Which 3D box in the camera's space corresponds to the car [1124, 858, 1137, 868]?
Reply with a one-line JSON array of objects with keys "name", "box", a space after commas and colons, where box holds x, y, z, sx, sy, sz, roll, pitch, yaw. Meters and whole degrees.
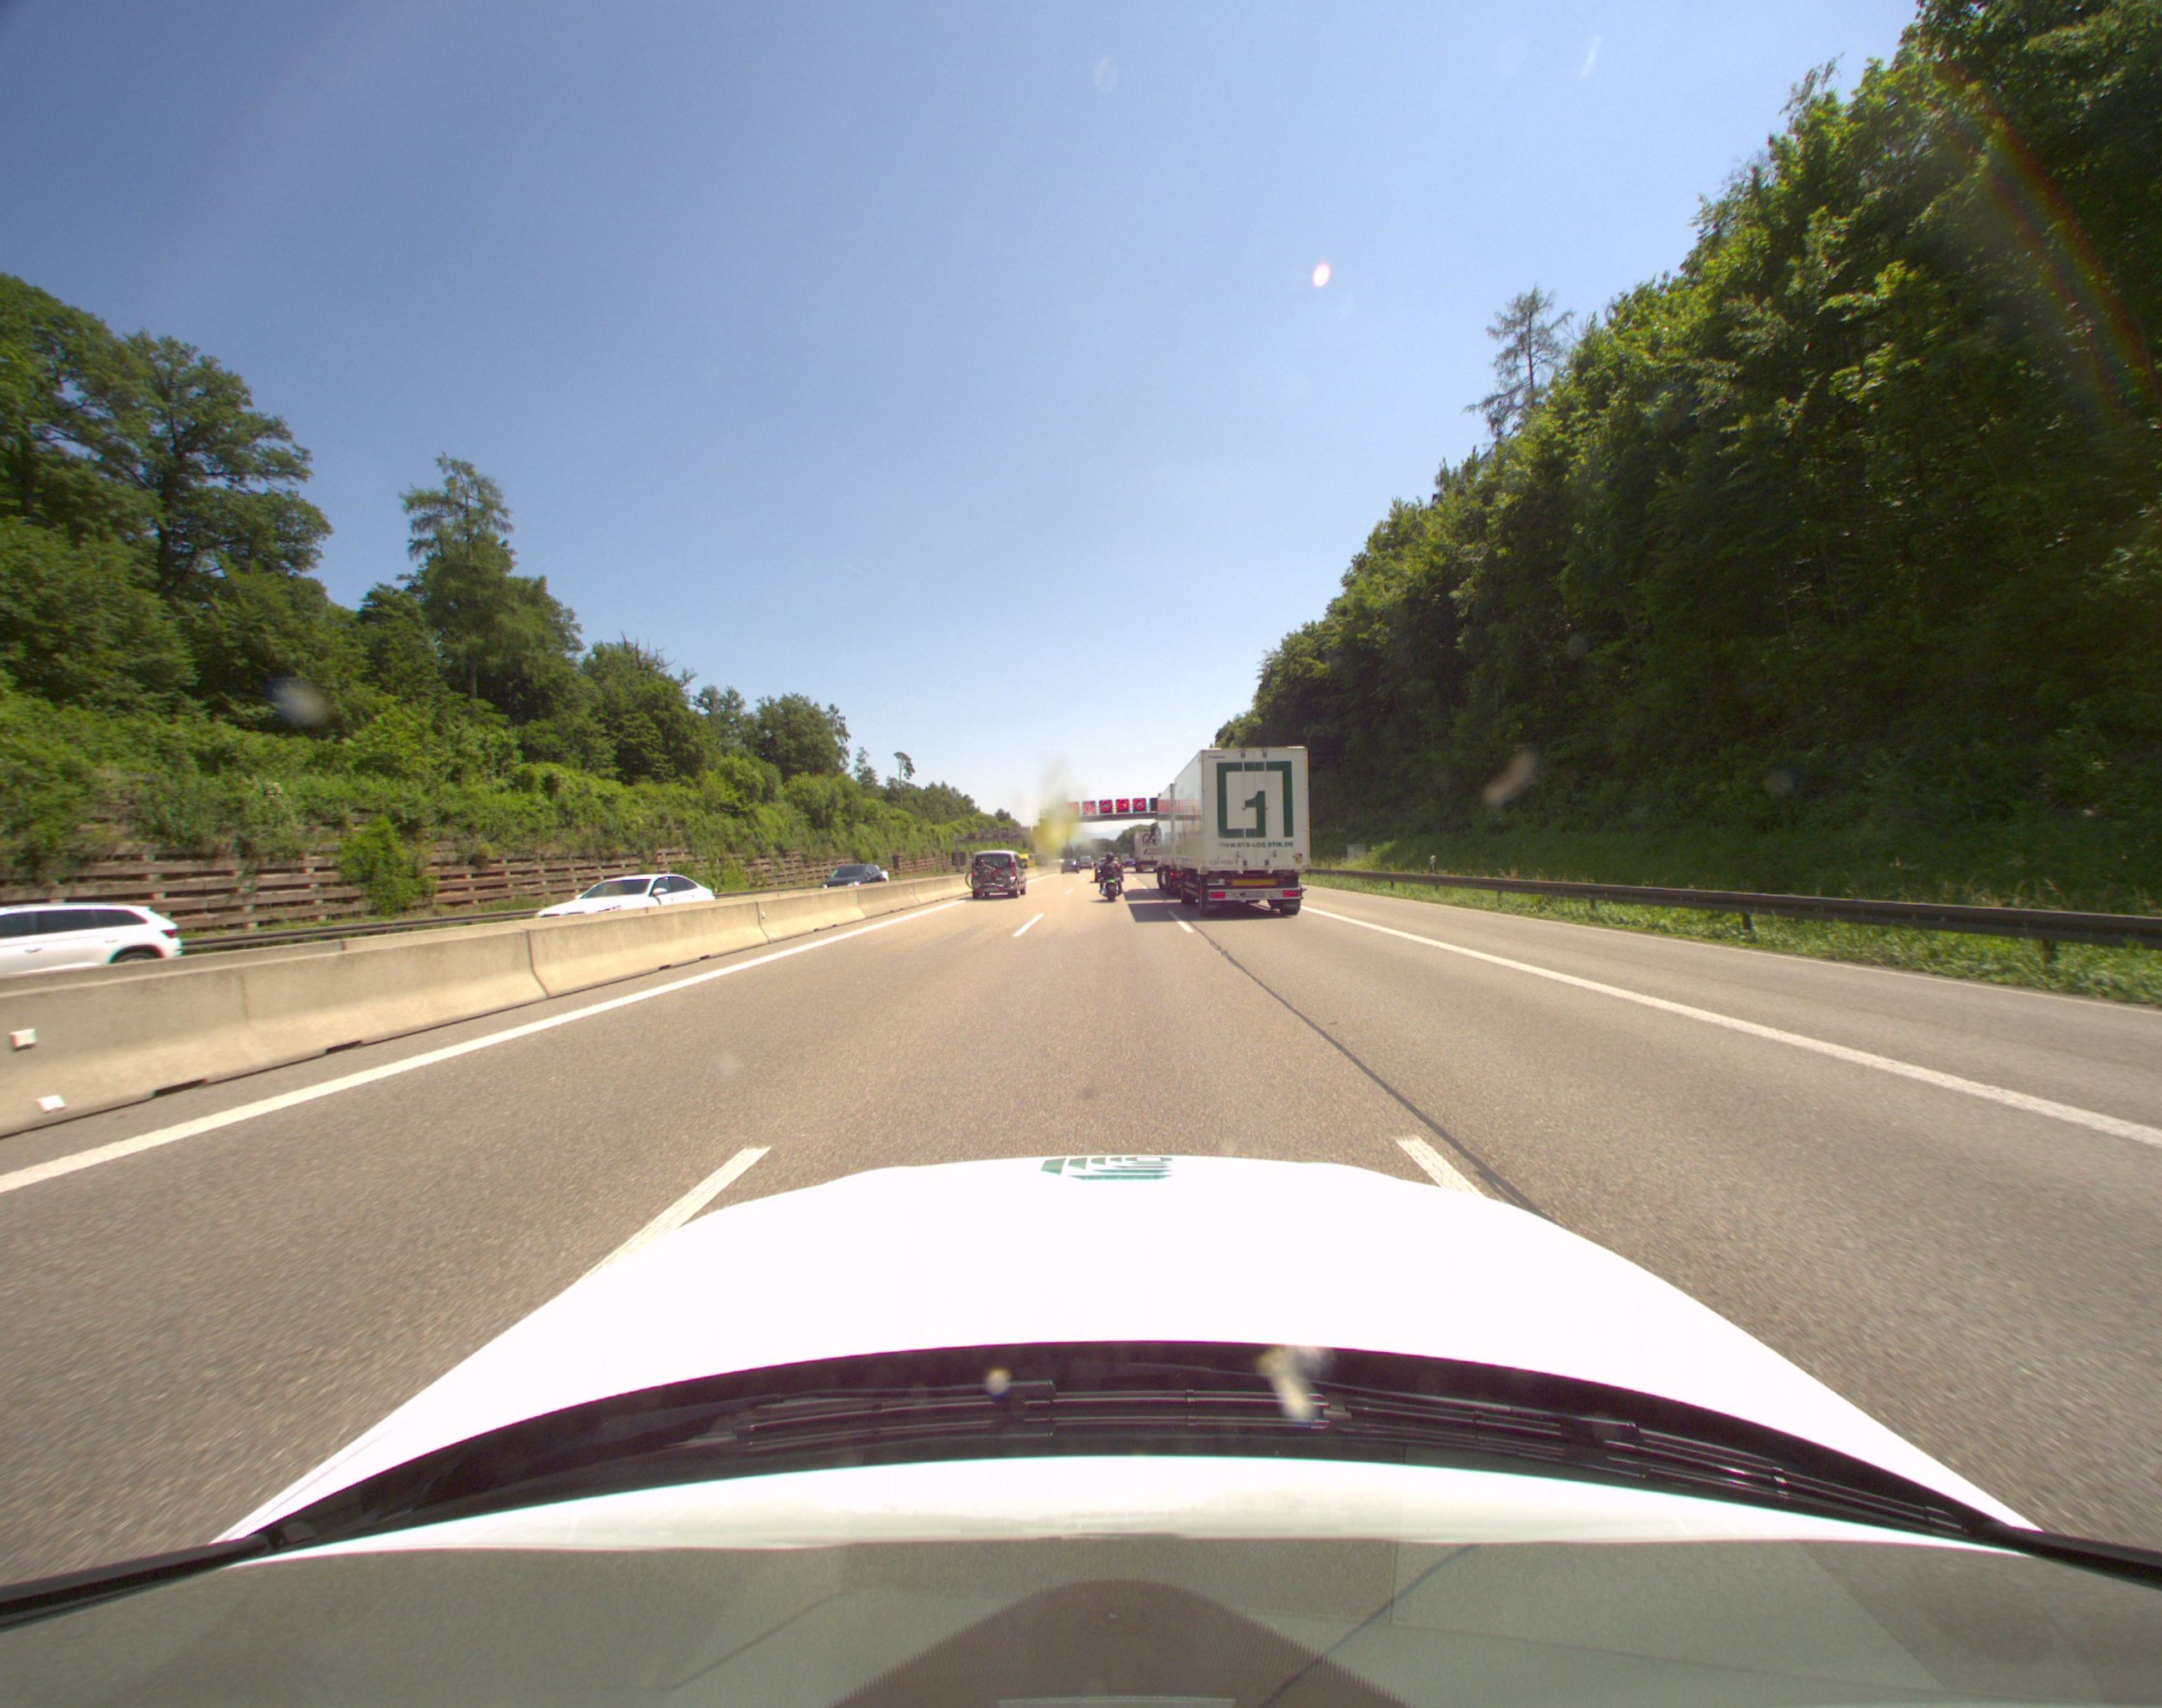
[{"name": "car", "box": [7.640, 1.380, 124.892, 1.824, 1.527, 4.028, -1, 0, 2]}]

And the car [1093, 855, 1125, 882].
[{"name": "car", "box": [1.696, 0.880, 50.115, 1.838, 1.557, 4.441, -1, 0, 2]}]

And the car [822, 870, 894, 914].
[{"name": "car", "box": [-9.665, 1.587, 35.686, 1.746, 1.637, 4.305, -3, 0, 2]}]

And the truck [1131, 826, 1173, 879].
[{"name": "truck", "box": [6.917, -0.068, 82.030, 3.370, 4.718, 17.716, 0, 0, 2]}]

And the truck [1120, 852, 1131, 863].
[{"name": "truck", "box": [13.003, 1.044, 236.651, 3.056, 3.346, 9.656, 0, -1, 2]}]

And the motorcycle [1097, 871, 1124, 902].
[{"name": "motorcycle", "box": [1.008, 1.096, 27.701, 0.859, 0.982, 2.132, -2, -1, 3]}]

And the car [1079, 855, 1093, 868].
[{"name": "car", "box": [0.704, 1.092, 116.097, 1.824, 1.810, 4.121, -1, 0, 2]}]

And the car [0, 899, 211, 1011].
[{"name": "car", "box": [-18.030, 1.738, 13.442, 1.932, 1.605, 4.862, -3, 0, 2]}]

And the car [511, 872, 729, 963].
[{"name": "car", "box": [-10.448, 1.342, 19.071, 1.932, 1.605, 5.228, -3, 0, 2]}]

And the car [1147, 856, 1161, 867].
[{"name": "car", "box": [10.421, 1.036, 116.258, 1.824, 1.527, 4.028, -1, 0, 2]}]

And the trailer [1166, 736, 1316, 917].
[{"name": "trailer", "box": [4.256, -0.609, 24.066, 2.670, 4.176, 10.069, -1, -1, 2]}]

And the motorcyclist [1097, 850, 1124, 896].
[{"name": "motorcyclist", "box": [0.998, 0.656, 27.746, 0.852, 1.515, 0.914, -2, -1, 3]}]

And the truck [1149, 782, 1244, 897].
[{"name": "truck", "box": [4.566, -0.473, 34.341, 2.670, 4.059, 10.628, -1, -1, 2]}]

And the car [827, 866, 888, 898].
[{"name": "car", "box": [-13.350, 1.621, 49.121, 1.876, 1.637, 5.651, -3, 0, 2]}]

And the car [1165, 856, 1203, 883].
[{"name": "car", "box": [6.289, 0.909, 50.104, 1.838, 1.557, 4.394, -1, 0, 2]}]

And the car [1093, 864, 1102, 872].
[{"name": "car", "box": [3.671, 3.110, 182.260, 1.824, 1.810, 4.121, -1, 0, 2]}]

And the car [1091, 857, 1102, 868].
[{"name": "car", "box": [2.645, 1.381, 137.423, 1.824, 1.810, 4.121, -1, 0, 2]}]

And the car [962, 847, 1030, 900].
[{"name": "car", "box": [-3.251, 0.748, 32.161, 1.891, 1.848, 5.485, -1, -1, 2]}]

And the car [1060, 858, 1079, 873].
[{"name": "car", "box": [-1.193, 1.178, 84.456, 1.751, 1.544, 4.396, -1, 0, 2]}]
